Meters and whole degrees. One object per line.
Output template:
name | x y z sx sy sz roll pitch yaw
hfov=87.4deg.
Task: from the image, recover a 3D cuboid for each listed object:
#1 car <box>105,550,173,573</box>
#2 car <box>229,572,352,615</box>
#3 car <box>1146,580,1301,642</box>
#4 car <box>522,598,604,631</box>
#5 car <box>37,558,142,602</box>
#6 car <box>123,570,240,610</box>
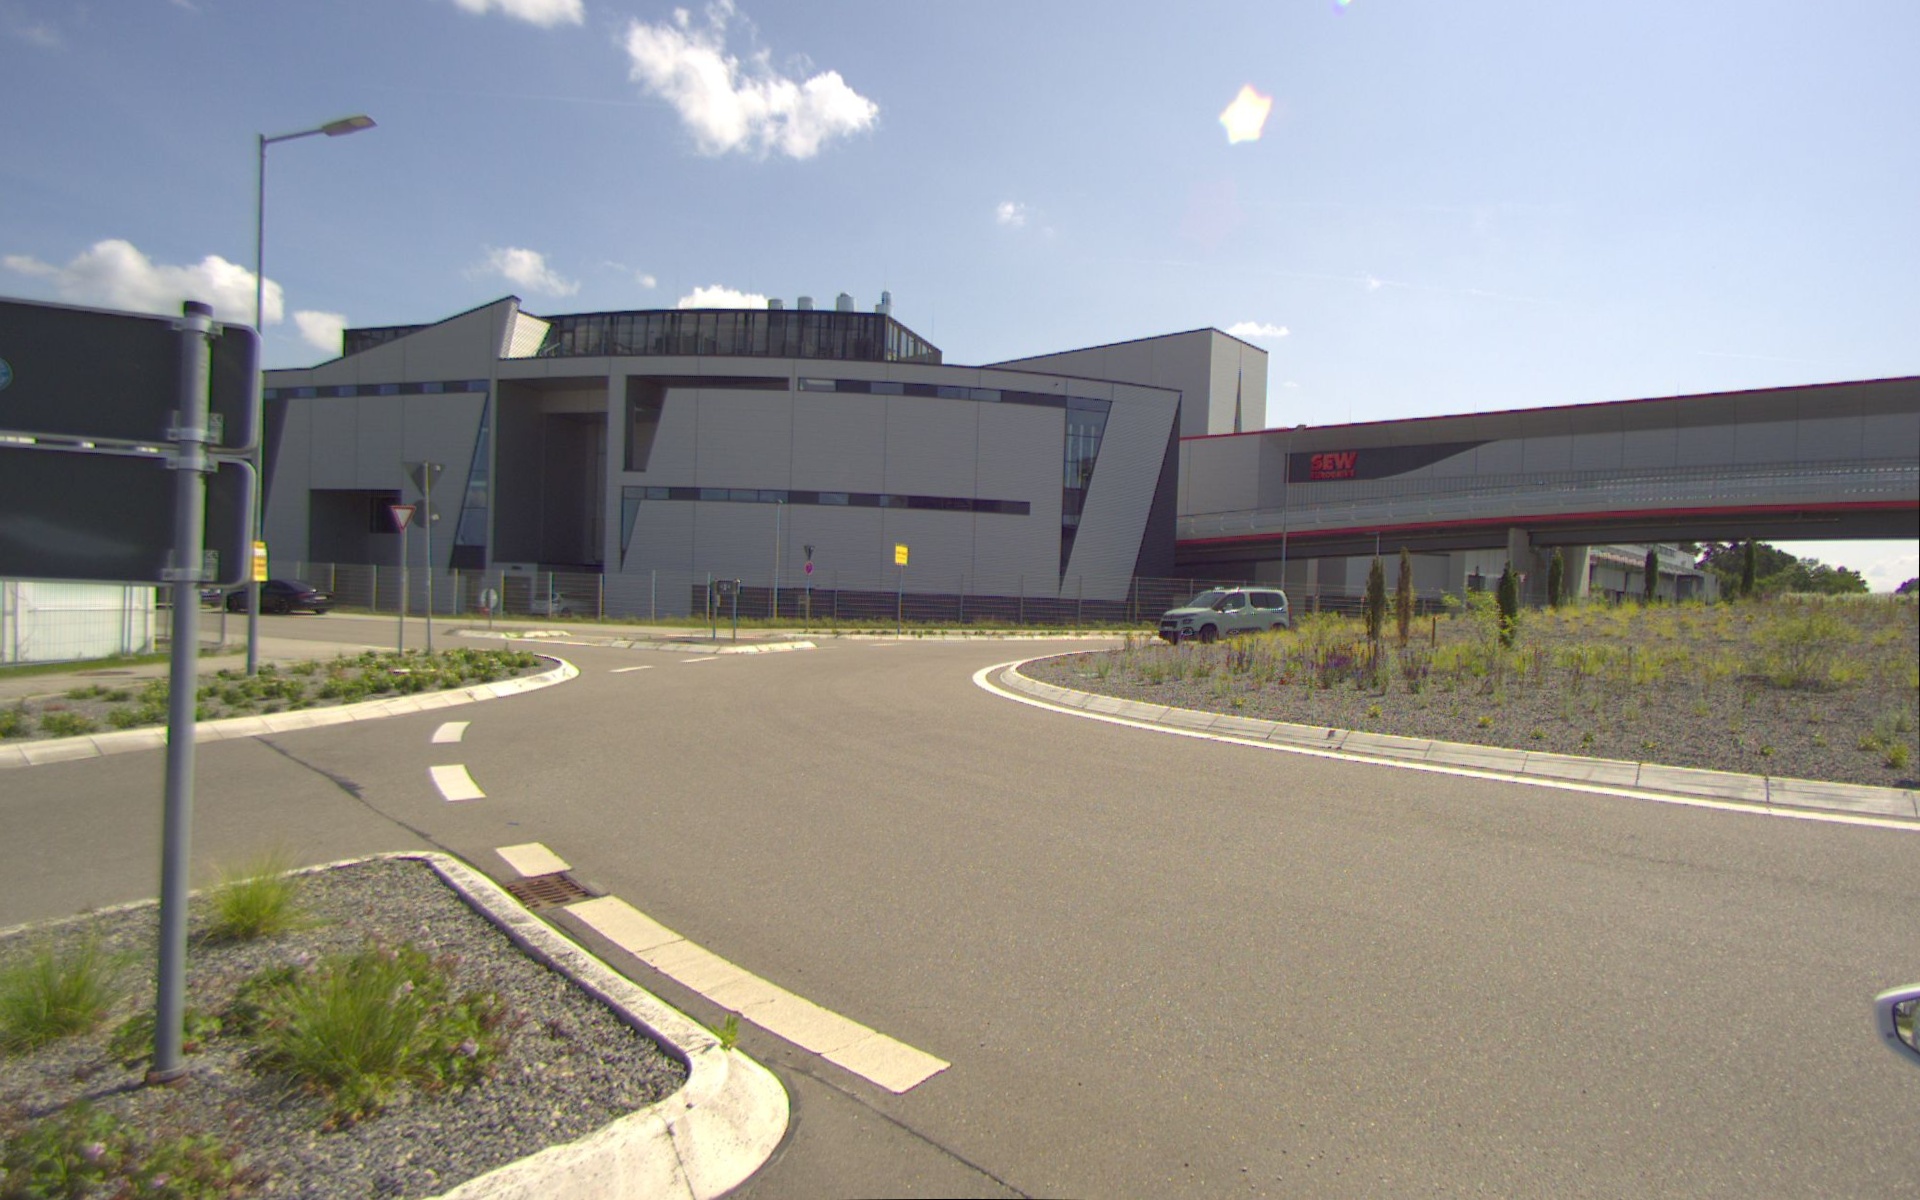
car | -72.821 -3.414 89.128 1.960 1.892 4.315 3 1 17
car | -28.129 -0.291 42.209 4.227 1.570 2.001 3 1 15
car | 8.327 0.347 31.744 4.498 1.803 1.988 1 1 -24
car | -22.245 0.776 56.467 1.960 1.713 4.315 3 1 17
car | -40.792 -0.939 47.068 4.230 1.856 1.999 3 1 22
car | -34.554 -0.443 44.590 4.227 1.570 2.000 3 1 16
